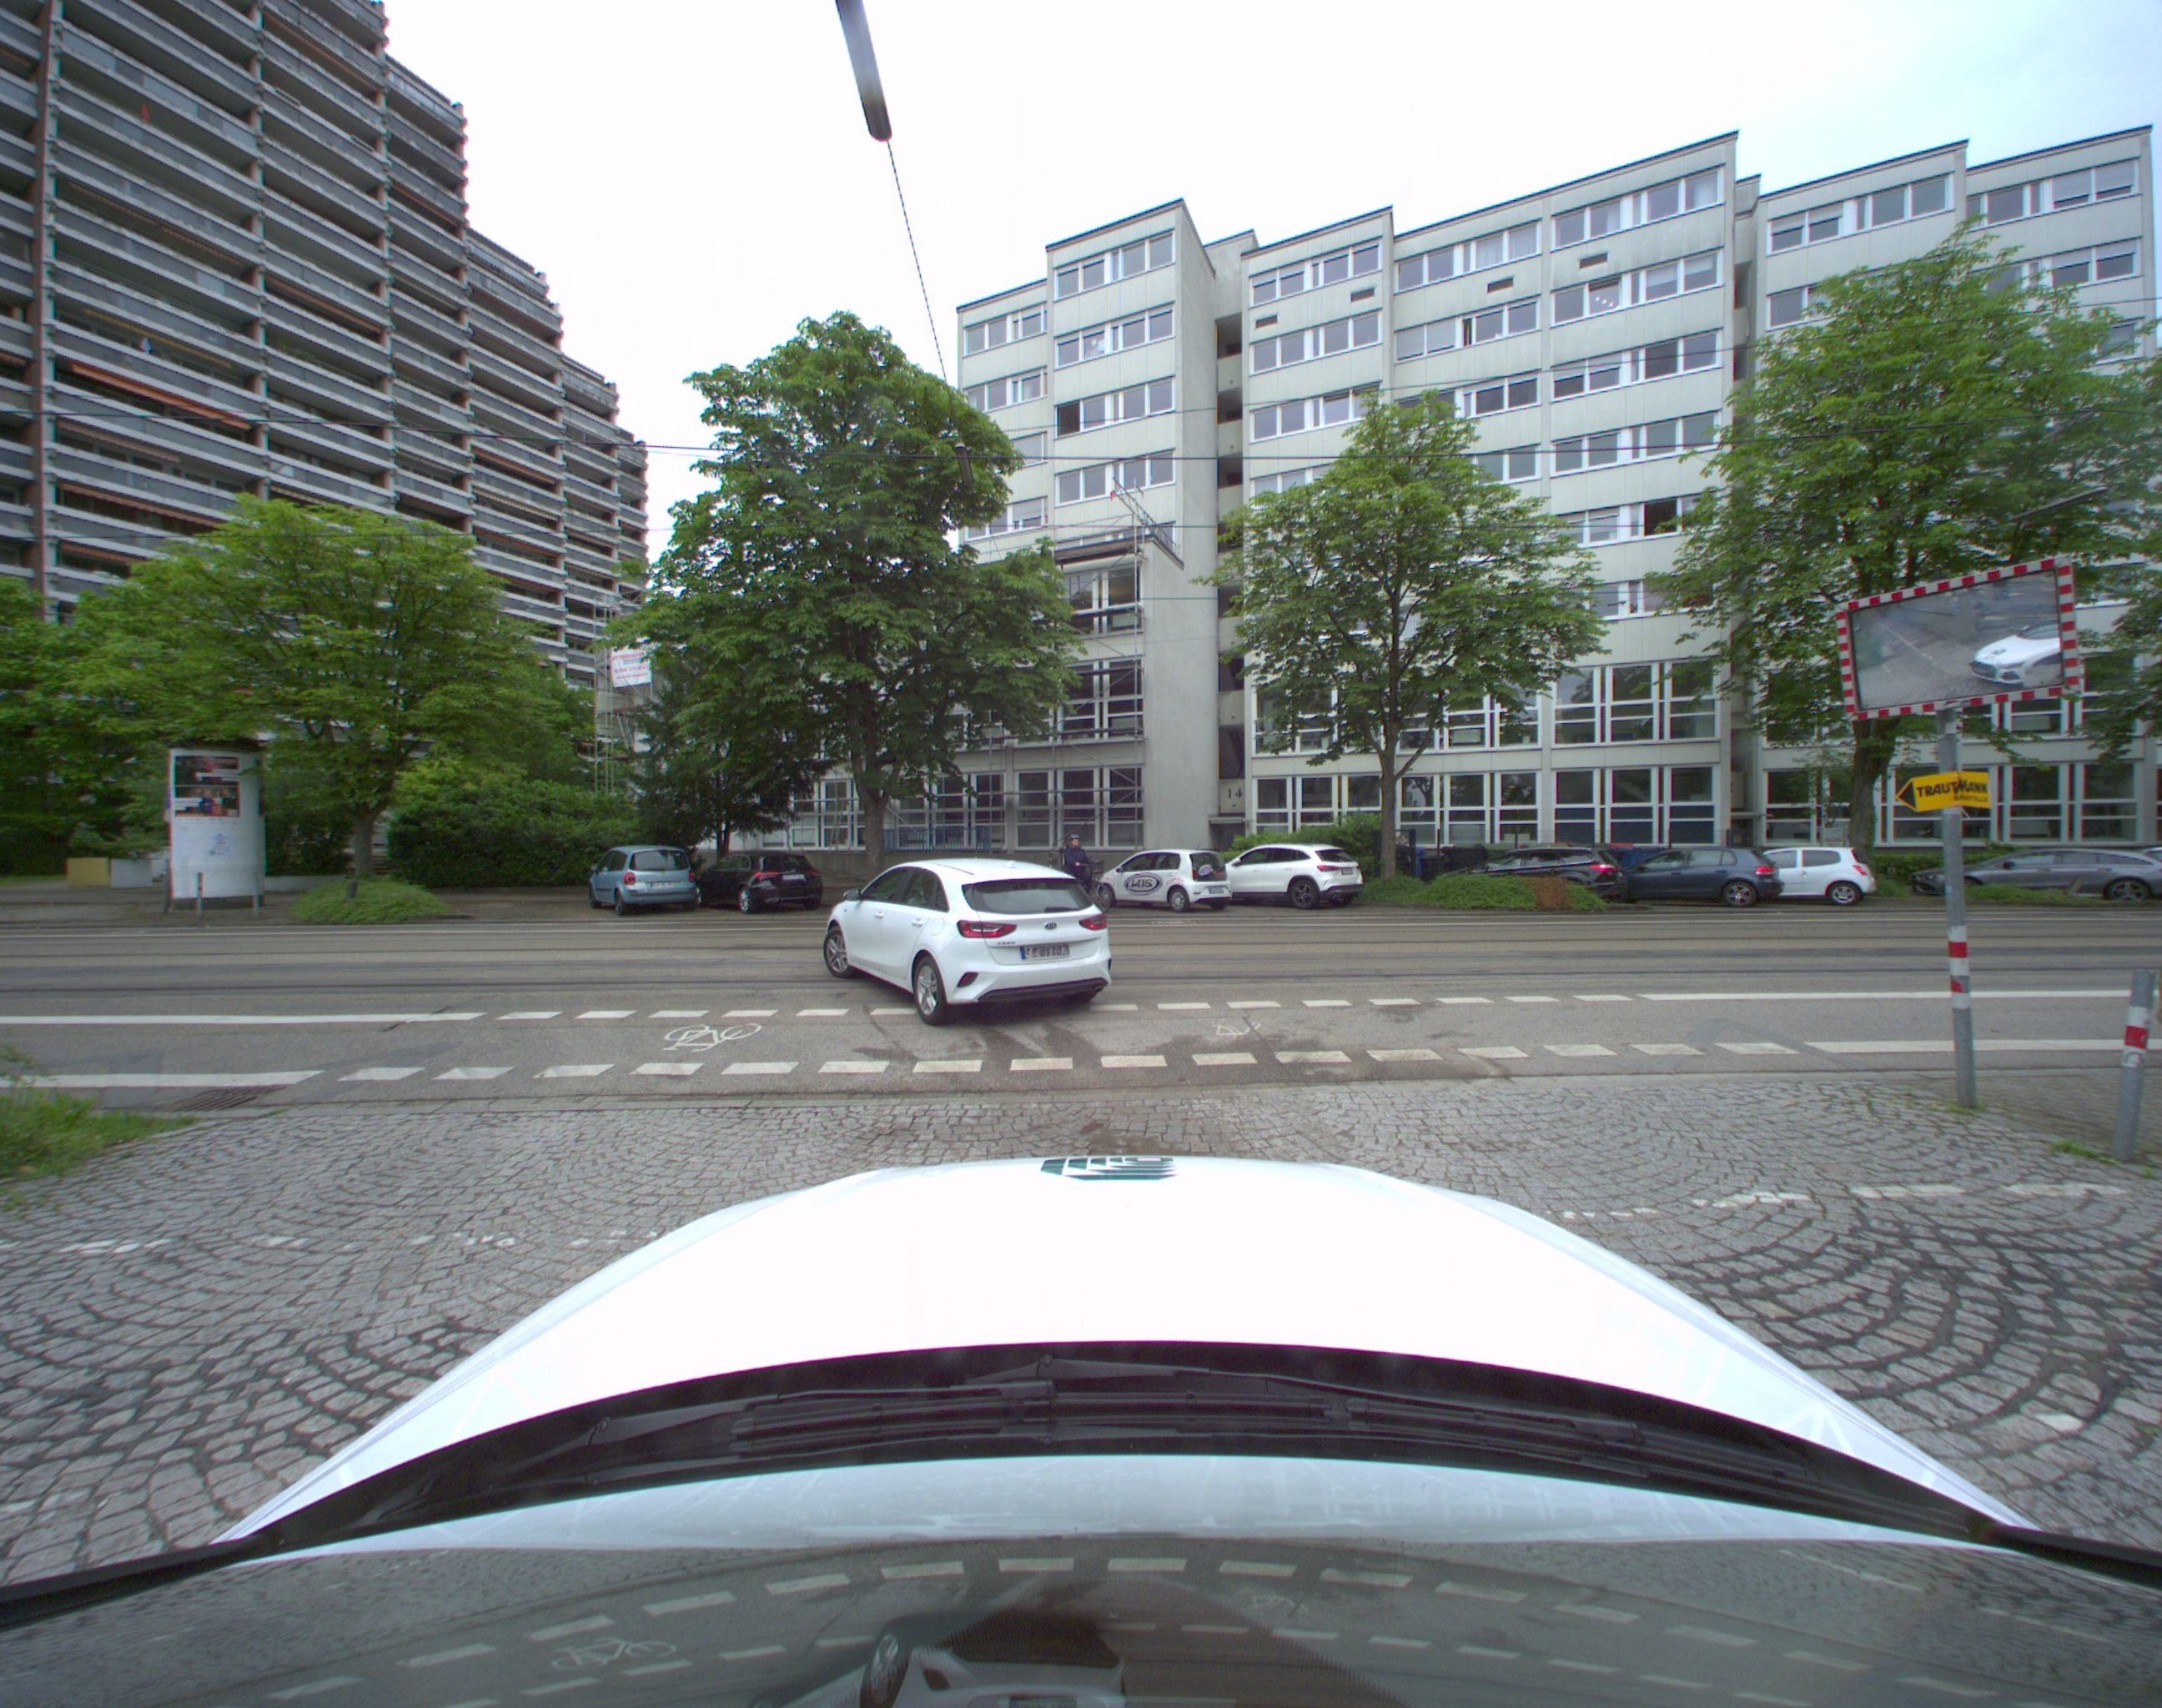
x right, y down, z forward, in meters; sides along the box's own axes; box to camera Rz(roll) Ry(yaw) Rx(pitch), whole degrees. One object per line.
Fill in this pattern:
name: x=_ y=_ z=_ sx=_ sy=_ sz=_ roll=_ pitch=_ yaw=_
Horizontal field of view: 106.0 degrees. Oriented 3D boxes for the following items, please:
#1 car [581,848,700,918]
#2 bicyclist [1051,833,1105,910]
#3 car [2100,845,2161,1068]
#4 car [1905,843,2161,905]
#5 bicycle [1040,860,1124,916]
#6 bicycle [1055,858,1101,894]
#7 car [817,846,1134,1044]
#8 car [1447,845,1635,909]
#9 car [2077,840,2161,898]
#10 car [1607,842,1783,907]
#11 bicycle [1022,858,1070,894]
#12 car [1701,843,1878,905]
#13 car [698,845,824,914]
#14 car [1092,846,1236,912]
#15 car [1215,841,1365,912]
car: x=-10.714 y=0.631 z=19.730 sx=3.295 sy=1.537 sz=1.628 roll=0 pitch=1 yaw=45
bicyclist: x=-0.065 y=0.378 z=18.677 sx=0.839 sy=1.698 sz=0.886 roll=-1 pitch=1 yaw=-43
car: x=9.074 y=0.685 z=5.014 sx=3.570 sy=1.500 sz=1.665 roll=-1 pitch=1 yaw=0
car: x=24.905 y=0.516 z=21.403 sx=4.441 sy=1.474 sz=1.425 roll=-1 pitch=-2 yaw=41
bicycle: x=0.010 y=0.749 z=18.605 sx=0.826 sy=1.174 sz=1.892 roll=-1 pitch=1 yaw=-44
bicycle: x=-0.059 y=0.679 z=26.086 sx=0.638 sy=1.075 sz=2.324 roll=0 pitch=1 yaw=22
car: x=-1.347 y=0.723 z=8.770 sx=1.789 sy=1.432 sz=3.937 roll=-3 pitch=4 yaw=-34
car: x=11.744 y=0.541 z=20.931 sx=3.904 sy=1.473 sz=1.684 roll=-1 pitch=1 yaw=42
car: x=28.457 y=0.370 z=21.024 sx=1.425 sy=1.473 sz=3.348 roll=-1 pitch=1 yaw=-45
car: x=15.313 y=0.484 z=20.411 sx=1.425 sy=1.473 sz=3.348 roll=-2 pitch=1 yaw=-45
bicycle: x=-1.115 y=0.682 z=26.660 sx=0.638 sy=1.075 sz=2.324 roll=0 pitch=1 yaw=22
car: x=18.267 y=0.480 z=21.087 sx=1.425 sy=1.473 sz=3.348 roll=-2 pitch=1 yaw=-45
car: x=-7.784 y=0.570 z=19.720 sx=3.295 sy=1.511 sz=1.628 roll=-1 pitch=1 yaw=45
car: x=1.990 y=0.582 z=20.258 sx=1.565 sy=1.473 sz=3.367 roll=-2 pitch=1 yaw=-42
car: x=5.219 y=0.527 z=20.611 sx=1.565 sy=1.618 sz=3.367 roll=-2 pitch=1 yaw=-42
